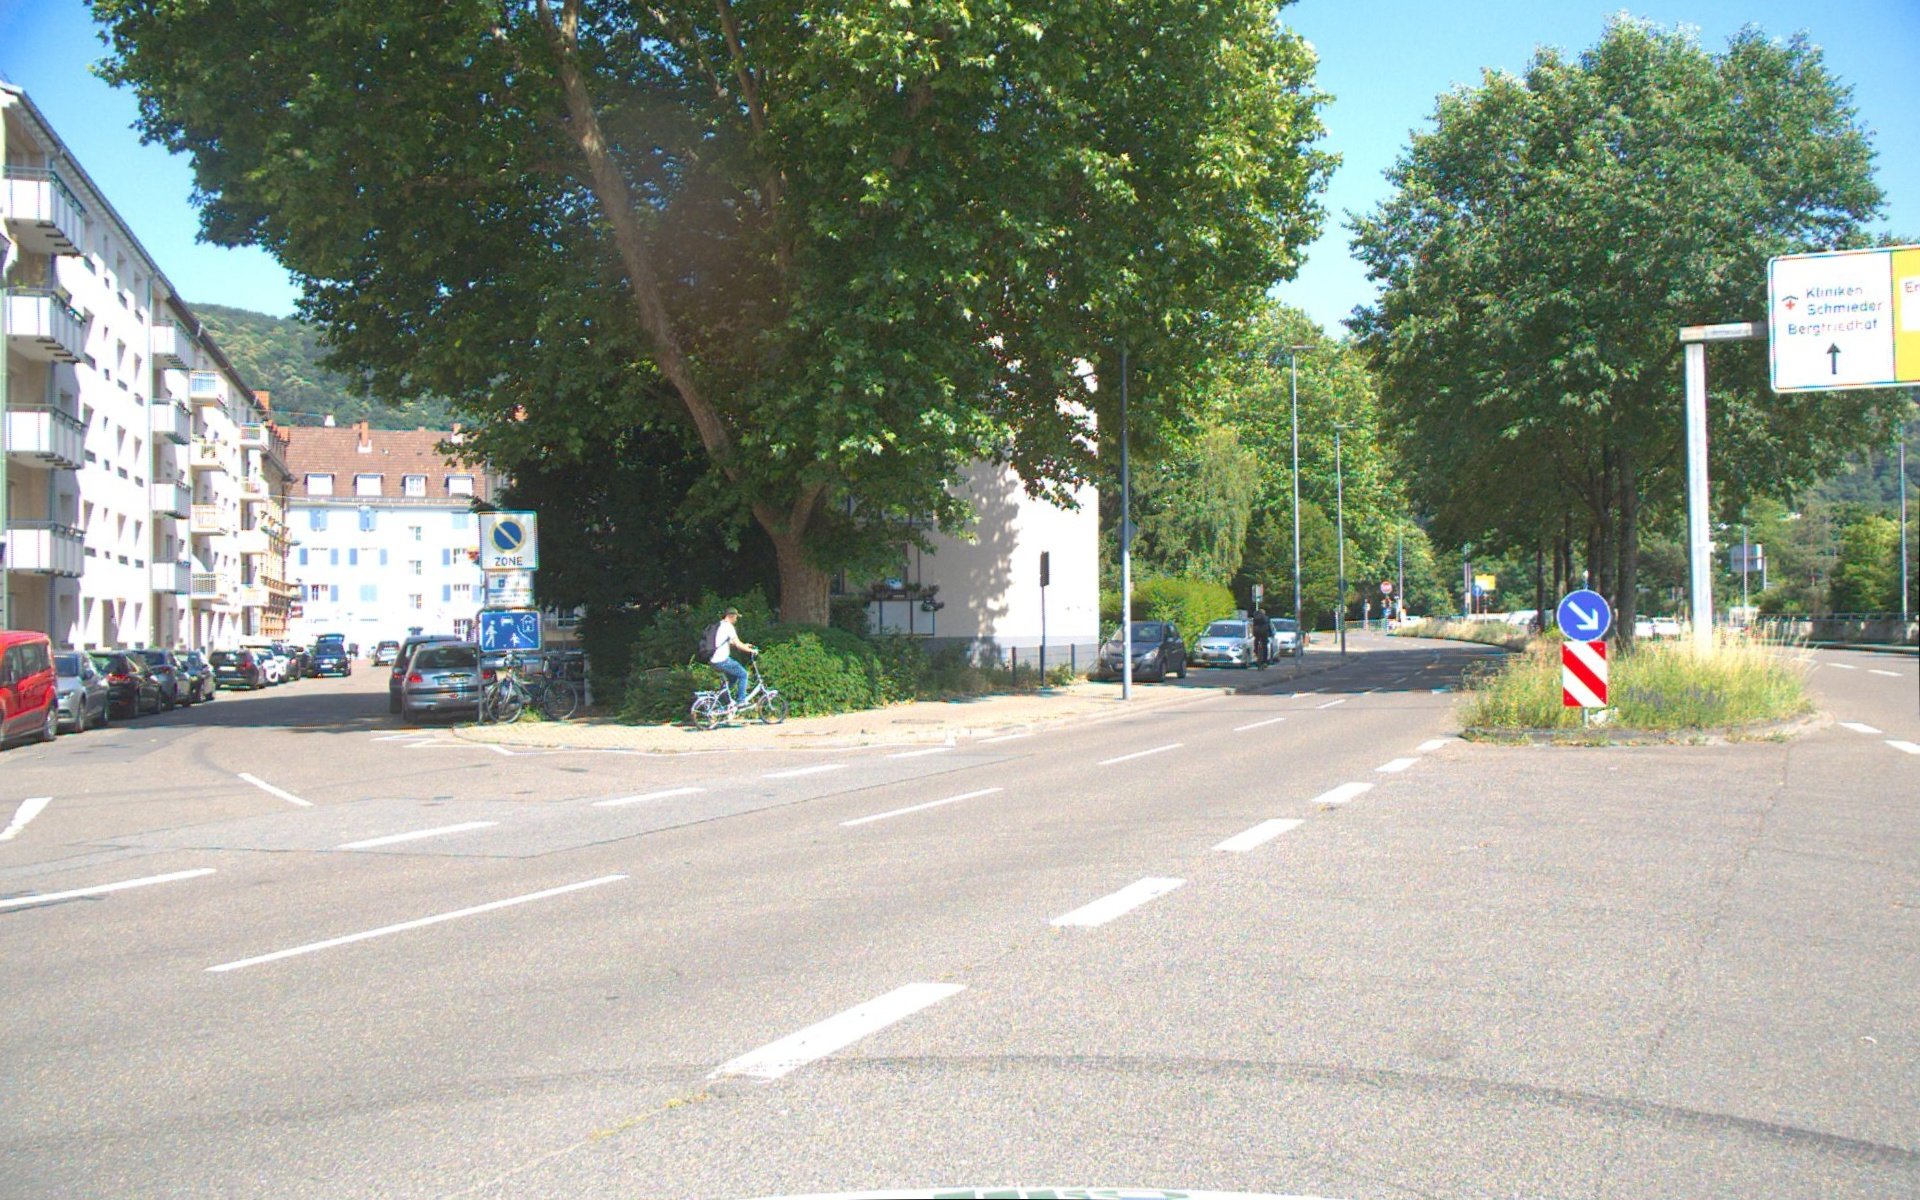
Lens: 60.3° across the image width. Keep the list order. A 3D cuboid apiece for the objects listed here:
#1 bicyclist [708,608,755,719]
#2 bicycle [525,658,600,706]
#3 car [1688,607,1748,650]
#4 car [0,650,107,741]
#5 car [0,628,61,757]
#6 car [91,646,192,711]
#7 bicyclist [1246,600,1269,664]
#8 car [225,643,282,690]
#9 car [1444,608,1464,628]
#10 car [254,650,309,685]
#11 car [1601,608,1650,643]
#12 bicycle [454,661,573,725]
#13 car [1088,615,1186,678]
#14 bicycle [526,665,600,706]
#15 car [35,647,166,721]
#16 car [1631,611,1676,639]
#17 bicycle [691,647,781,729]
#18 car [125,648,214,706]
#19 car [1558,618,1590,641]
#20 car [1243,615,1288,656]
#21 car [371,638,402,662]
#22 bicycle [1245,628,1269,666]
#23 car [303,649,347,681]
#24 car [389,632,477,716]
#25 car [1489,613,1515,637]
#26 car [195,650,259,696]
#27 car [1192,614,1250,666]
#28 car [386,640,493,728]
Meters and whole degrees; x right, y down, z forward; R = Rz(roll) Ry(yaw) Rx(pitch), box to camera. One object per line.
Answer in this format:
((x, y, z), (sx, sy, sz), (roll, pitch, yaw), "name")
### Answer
((-3.497, 0.958, 25.293), (0.580, 1.662, 0.537), (0, -1, -23), "bicyclist")
((-8.673, 1.791, 36.111), (1.546, 1.011, 0.454), (1, -1, -20), "bicycle")
((35.100, 1.299, 76.709), (1.951, 1.924, 4.002), (-1, -1, 16), "car")
((-17.053, 1.709, 30.427), (1.835, 1.512, 3.977), (-1, -1, -19), "car")
((-15.246, 1.381, 25.259), (1.837, 1.873, 4.205), (-1, -1, -17), "car")
((-20.610, 1.945, 41.791), (1.835, 1.512, 3.976), (0, -1, -20), "car")
((9.043, 0.970, 50.320), (0.632, 1.927, 0.840), (-1, -1, 12), "bicyclist")
((-28.083, 2.614, 65.846), (1.835, 1.752, 3.840), (0, -1, -20), "car")
((46.992, 1.729, 157.400), (1.594, 1.843, 3.595), (-1, -1, 13), "car")
((-31.000, 3.059, 75.633), (1.962, 1.504, 3.980), (-1, -1, -18), "car")
((38.436, 1.461, 95.580), (1.951, 1.924, 4.003), (-1, -1, 13), "car")
((-7.674, 1.584, 28.421), (1.866, 1.001, 0.967), (0, -1, -23), "bicycle")
((4.620, 1.184, 42.795), (1.750, 1.539, 3.895), (-1, -1, 18), "car")
((-8.437, 1.818, 35.143), (1.479, 0.848, 0.381), (1, -1, -20), "bicycle")
((-19.162, 1.824, 37.045), (1.833, 1.512, 3.982), (-1, -1, -16), "car")
((43.694, 1.592, 104.270), (1.951, 1.706, 4.003), (-1, -1, 13), "car")
((-3.430, 1.333, 25.307), (1.265, 1.209, 0.550), (0, -1, -23), "bicycle")
((-22.257, 2.141, 46.695), (1.835, 1.512, 3.976), (0, -1, -20), "car")
((41.803, 1.987, 112.670), (1.594, 1.521, 3.683), (-1, -1, 13), "car")
((13.214, 1.504, 71.448), (1.732, 1.709, 4.003), (-1, -1, 13), "car")
((-37.558, 3.246, 108.413), (1.720, 1.507, 3.762), (-1, -1, -17), "car")
((9.040, 1.422, 50.316), (0.645, 1.142, 1.804), (-1, -1, 12), "bicycle")
((-30.748, 3.127, 80.159), (1.720, 1.486, 3.762), (-1, -1, -17), "car")
((-11.382, 1.558, 35.863), (1.720, 1.686, 3.762), (-1, -1, -17), "car")
((42.521, 1.984, 129.805), (1.594, 1.843, 3.595), (-1, -1, 13), "car")
((-26.271, 2.599, 59.369), (1.835, 1.512, 3.840), (0, -1, -20), "car")
((8.503, 1.288, 53.753), (1.606, 1.601, 4.003), (-1, -1, 12), "car")
((-9.649, 1.506, 30.782), (1.776, 1.477, 3.776), (-1, -1, -17), "car")
